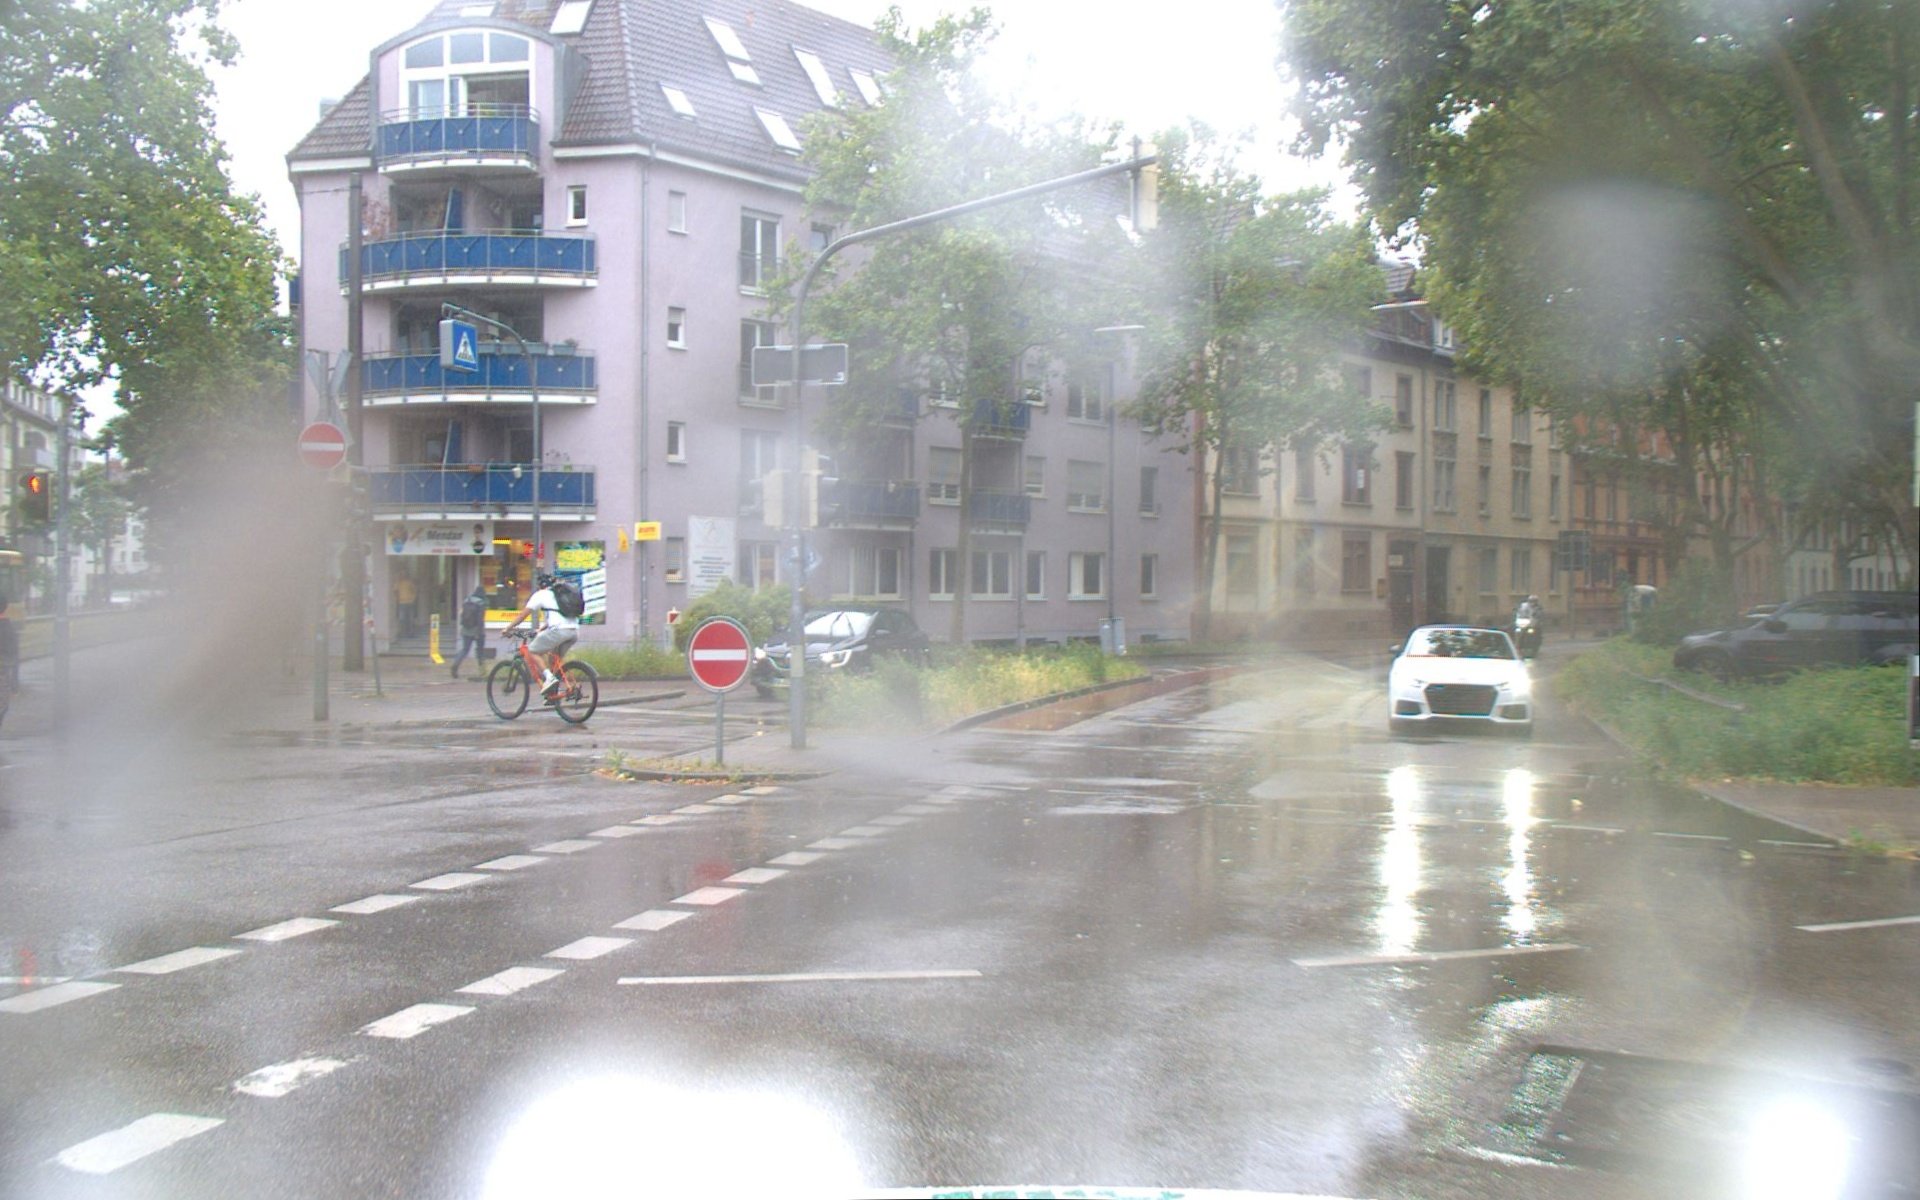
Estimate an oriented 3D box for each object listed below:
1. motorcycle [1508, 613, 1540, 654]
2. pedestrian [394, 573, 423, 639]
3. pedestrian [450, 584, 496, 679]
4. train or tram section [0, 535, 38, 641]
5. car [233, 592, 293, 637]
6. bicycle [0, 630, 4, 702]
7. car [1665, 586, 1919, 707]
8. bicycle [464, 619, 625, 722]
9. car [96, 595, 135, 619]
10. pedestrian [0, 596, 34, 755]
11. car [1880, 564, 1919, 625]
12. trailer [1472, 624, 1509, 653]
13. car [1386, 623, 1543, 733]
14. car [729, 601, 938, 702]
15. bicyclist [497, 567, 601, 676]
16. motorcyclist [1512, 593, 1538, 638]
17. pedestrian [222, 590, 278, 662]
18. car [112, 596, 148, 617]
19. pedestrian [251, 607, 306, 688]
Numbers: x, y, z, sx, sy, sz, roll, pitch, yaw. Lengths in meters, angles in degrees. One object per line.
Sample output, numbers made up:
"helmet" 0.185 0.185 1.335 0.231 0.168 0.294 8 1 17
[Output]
"motorcycle" 17.477 1.019 51.193 0.860 1.236 2.074 0 0 21
"pedestrian" -13.749 0.153 41.259 0.461 1.630 0.594 0 0 7
"pedestrian" -9.533 0.599 32.369 0.627 1.835 0.622 0 1 15
"train or tram section" -32.529 -0.398 53.775 2.597 3.410 9.935 0 0 -18
"car" -27.651 0.535 65.693 1.964 1.702 3.977 0 0 -20
"bicycle" -15.003 1.018 24.700 0.435 1.095 1.619 0 0 3
"car" 13.275 0.647 24.977 1.857 1.693 4.538 0 0 -39
"bicycle" -5.225 0.861 20.758 1.996 1.193 0.752 1 1 29
"car" -55.952 0.461 109.670 1.967 1.560 3.972 0 0 -23
"pedestrian" -9.905 0.751 16.730 0.677 1.575 0.761 0 1 -6
"car" 39.591 -0.210 65.619 2.189 2.443 5.585 0 0 -14
"trailer" 16.576 1.184 51.672 1.003 0.856 1.482 0 0 22
"car" 6.830 0.982 22.484 1.857 1.297 4.174 0 0 16
"car" -1.964 0.775 27.043 1.946 1.486 4.179 1 0 18
"bicyclist" -5.141 0.249 20.691 1.053 1.332 0.741 1 1 30
"motorcyclist" 17.498 0.479 51.222 0.740 1.375 0.755 0 0 21
"pedestrian" -18.212 0.657 42.419 1.155 1.819 0.882 0 0 -38
"car" -57.745 0.472 115.164 1.967 1.422 3.972 0 0 -23
"pedestrian" -13.694 0.935 33.256 0.976 1.586 0.780 0 0 -19
